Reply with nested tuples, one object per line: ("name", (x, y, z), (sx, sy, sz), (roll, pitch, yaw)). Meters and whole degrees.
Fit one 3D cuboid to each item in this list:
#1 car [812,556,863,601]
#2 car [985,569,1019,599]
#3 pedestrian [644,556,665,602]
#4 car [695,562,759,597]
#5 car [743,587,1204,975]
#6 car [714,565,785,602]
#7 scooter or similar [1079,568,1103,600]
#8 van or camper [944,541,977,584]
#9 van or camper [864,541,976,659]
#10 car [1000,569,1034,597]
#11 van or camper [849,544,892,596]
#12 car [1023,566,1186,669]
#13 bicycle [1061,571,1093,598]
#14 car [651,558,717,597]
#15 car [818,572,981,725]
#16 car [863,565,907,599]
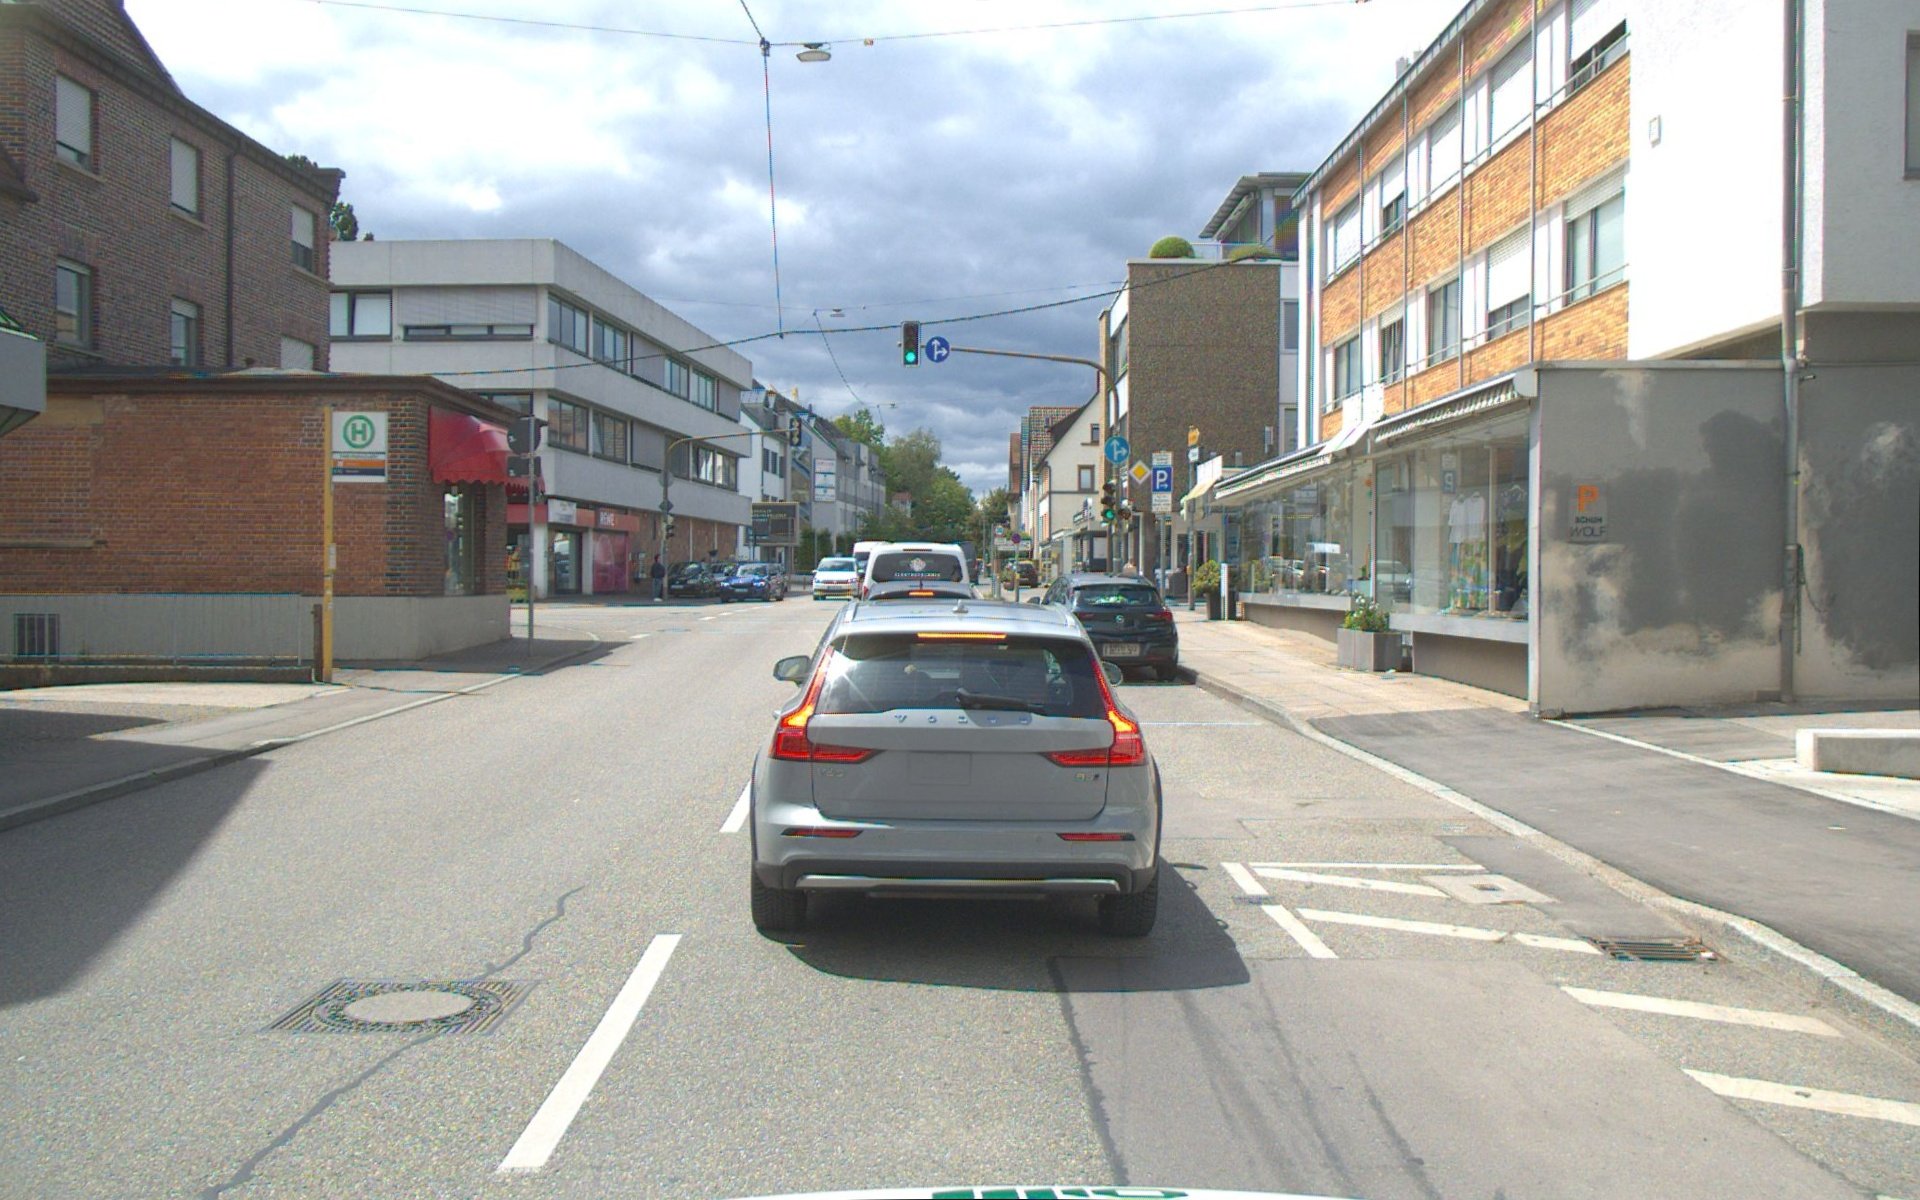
("car", (-4.759, -0.865, 64.759), (1.739, 1.640, 4.120), (-1, 2, -1))
("car", (1.899, -0.716, 75.941), (1.409, 1.310, 3.247), (0, 0, -1))
("pedestrian", (-11.051, -0.761, 59.827), (0.606, 1.670, 0.660), (0, 1, 1))
("car", (-10.183, -0.924, 72.632), (1.864, 1.468, 4.446), (2, 1, 4))
("car", (0.026, 0.703, 8.472), (1.798, 1.512, 3.999), (0, 0, -1))
("car", (-7.963, -0.645, 63.003), (1.952, 1.361, 4.358), (0, 1, 3))
("scooter or similar", (5.383, -0.641, 67.924), (0.336, 1.275, 1.235), (-3, 1, -26))
("van or camper", (0.060, -2.454, 108.154), (2.080, 2.733, 4.782), (0, 1, 0))
("van or camper", (-0.672, -0.070, 28.501), (1.782, 1.866, 4.000), (0, 2, -1))
("car", (3.288, -0.972, 96.313), (1.676, 1.490, 3.998), (1, 0, -2))
("van or camper", (-4.647, -1.611, 86.249), (2.105, 2.600, 5.436), (-1, 2, -2))
("car", (2.013, 0.242, 24.065), (1.772, 1.370, 3.714), (0, 0, -5))
("bicycle", (5.048, -0.676, 71.271), (0.546, 1.164, 2.288), (-1, 1, -18))
("car", (-11.097, -0.902, 66.764), (1.747, 1.490, 4.089), (2, 1, 3))
("car", (-0.631, 0.460, 18.383), (1.617, 1.508, 3.607), (1, 1, -1))
("car", (-3.510, -0.825, 78.088), (1.753, 1.537, 3.846), (0, 0, 2))
